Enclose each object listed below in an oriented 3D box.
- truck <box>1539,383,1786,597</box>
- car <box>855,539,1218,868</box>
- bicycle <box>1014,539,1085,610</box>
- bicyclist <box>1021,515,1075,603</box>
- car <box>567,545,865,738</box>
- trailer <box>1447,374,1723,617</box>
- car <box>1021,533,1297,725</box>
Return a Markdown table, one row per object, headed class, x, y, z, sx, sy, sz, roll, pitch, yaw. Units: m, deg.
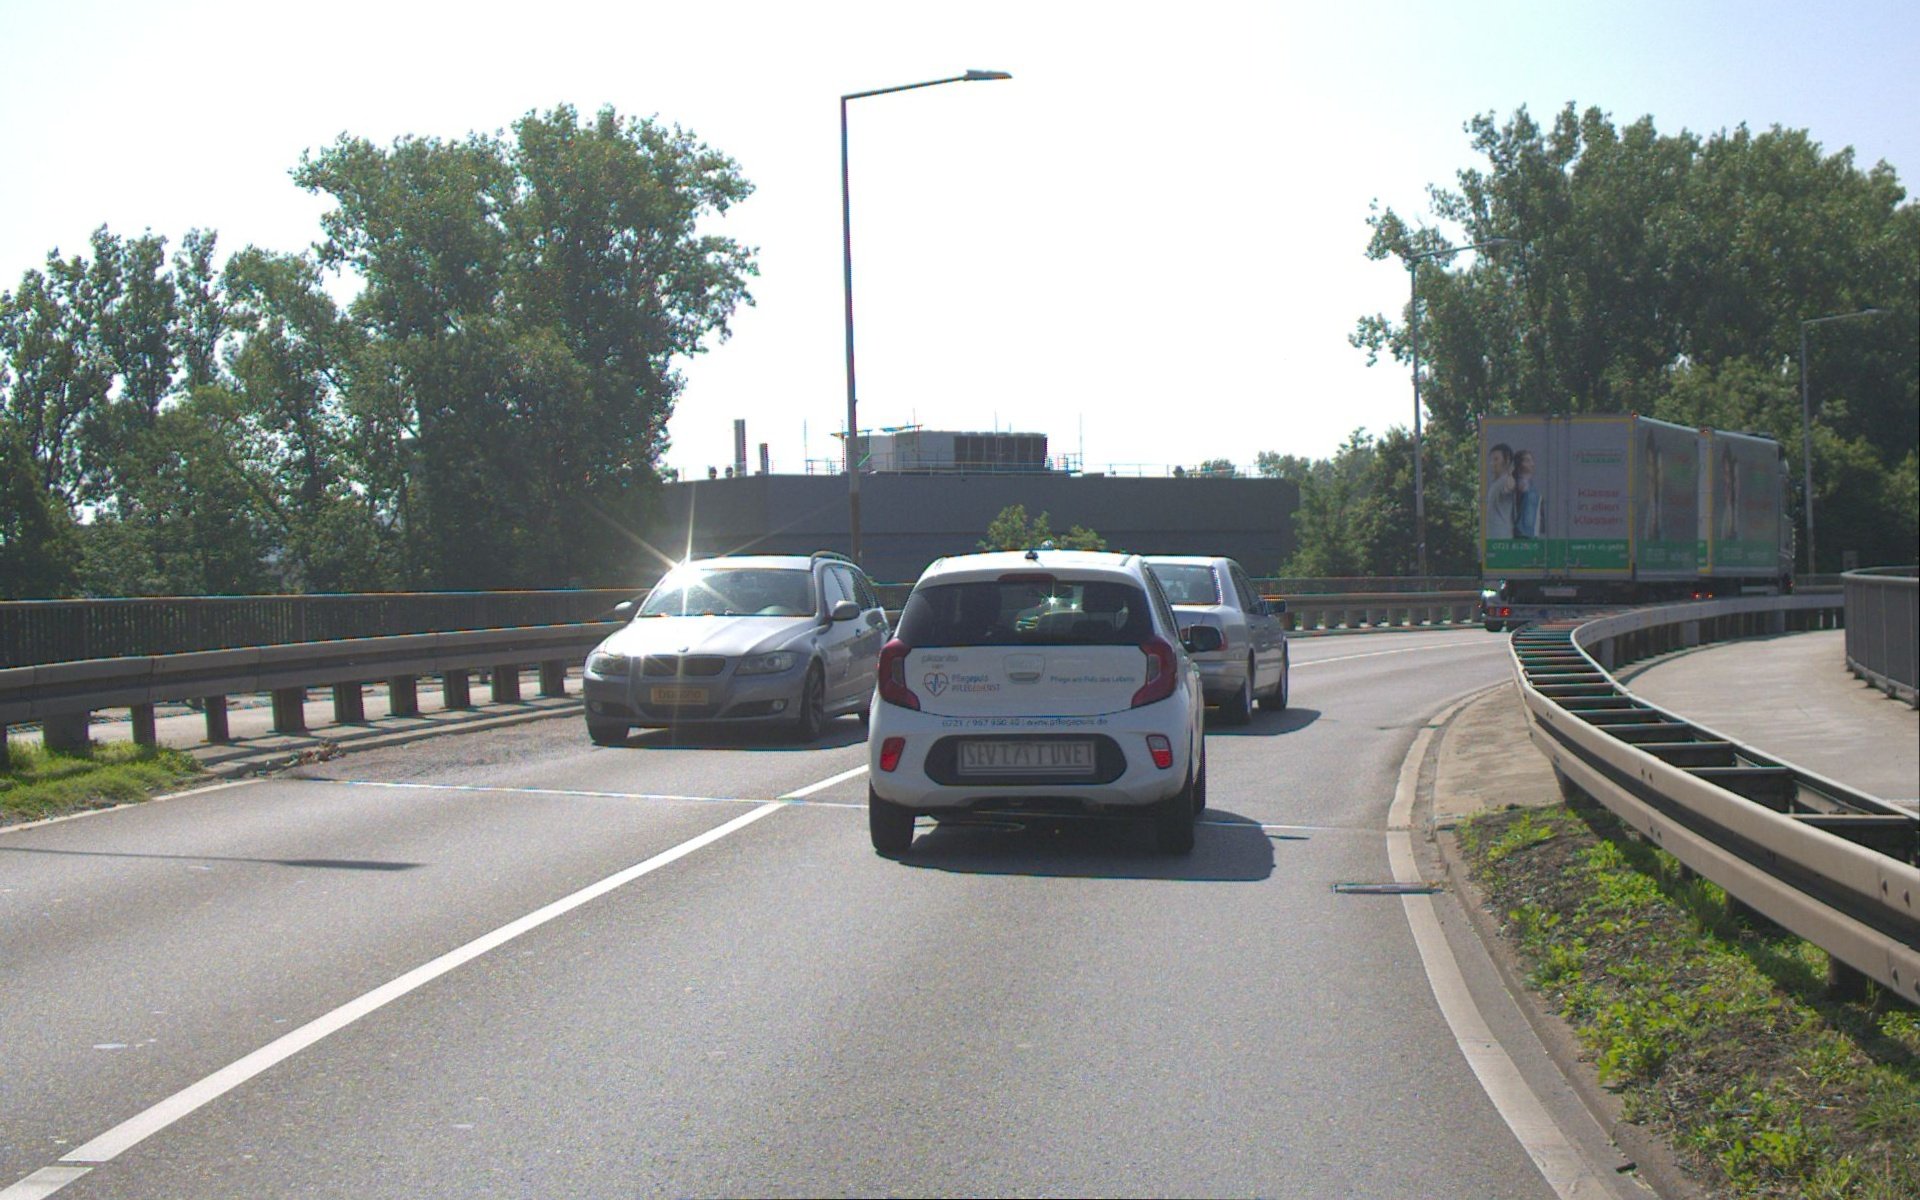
| class | x | y | z | sx | sy | sz | roll | pitch | yaw |
| --- | --- | --- | --- | --- | --- | --- | --- | --- | --- |
| truck | 13.466 | -2.145 | 65.346 | 3.264 | 3.745 | 8.363 | 2 | 3 | 20 |
| car | 0.442 | 0.455 | 18.358 | 1.702 | 1.489 | 4.000 | 1 | 2 | 2 |
| bicycle | 1.511 | -0.425 | 57.438 | 0.612 | 1.131 | 2.147 | -3 | -1 | 16 |
| bicyclist | 1.473 | -0.679 | 57.375 | 0.608 | 1.434 | 1.077 | -2 | -1 | 16 |
| car | -1.843 | 0.267 | 27.190 | 1.717 | 1.393 | 4.182 | 0 | 1 | 5 |
| trailer | 10.645 | -1.824 | 57.904 | 3.227 | 3.745 | 7.817 | 2 | 3 | 20 |
| car | 1.805 | 0.178 | 29.625 | 1.939 | 1.481 | 4.898 | 1 | 1 | 8 |
